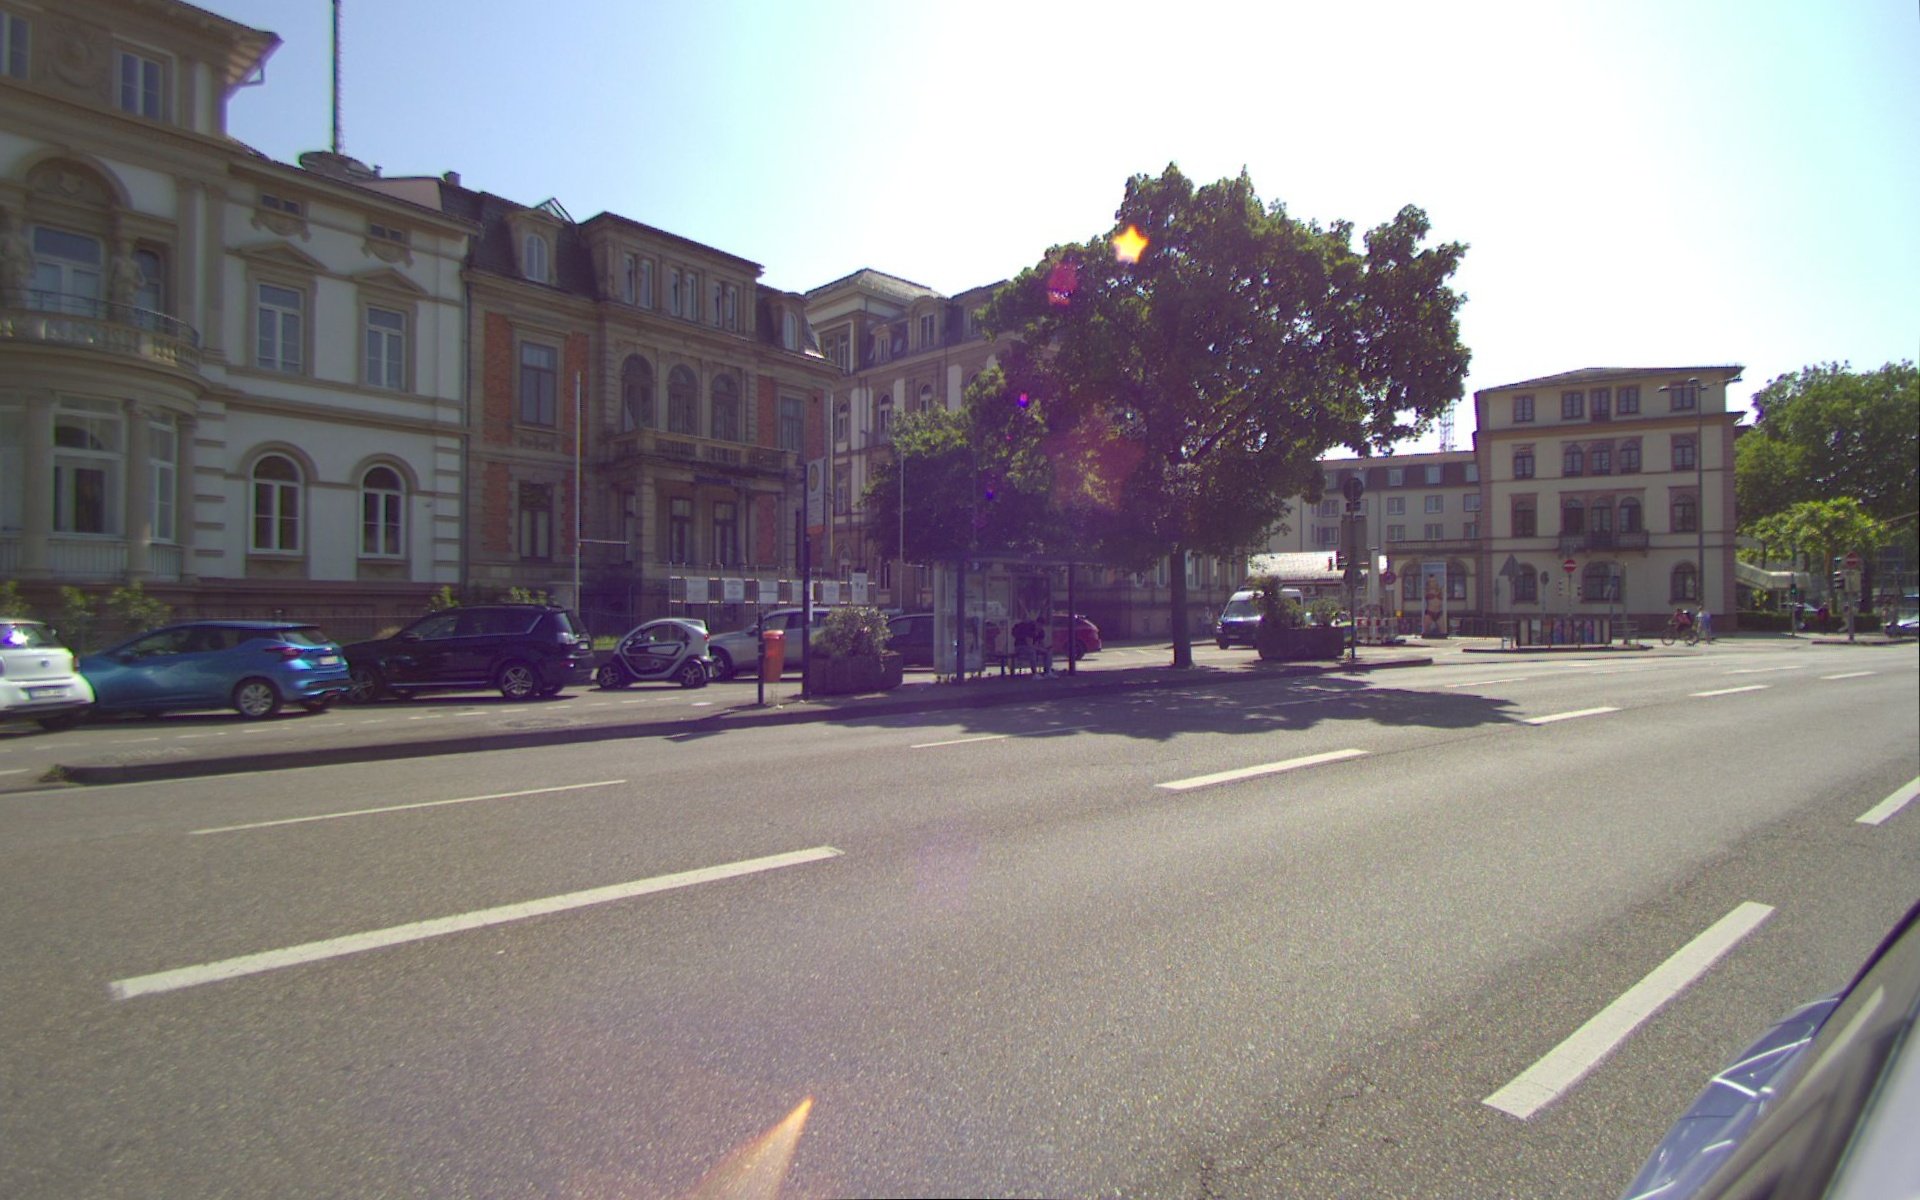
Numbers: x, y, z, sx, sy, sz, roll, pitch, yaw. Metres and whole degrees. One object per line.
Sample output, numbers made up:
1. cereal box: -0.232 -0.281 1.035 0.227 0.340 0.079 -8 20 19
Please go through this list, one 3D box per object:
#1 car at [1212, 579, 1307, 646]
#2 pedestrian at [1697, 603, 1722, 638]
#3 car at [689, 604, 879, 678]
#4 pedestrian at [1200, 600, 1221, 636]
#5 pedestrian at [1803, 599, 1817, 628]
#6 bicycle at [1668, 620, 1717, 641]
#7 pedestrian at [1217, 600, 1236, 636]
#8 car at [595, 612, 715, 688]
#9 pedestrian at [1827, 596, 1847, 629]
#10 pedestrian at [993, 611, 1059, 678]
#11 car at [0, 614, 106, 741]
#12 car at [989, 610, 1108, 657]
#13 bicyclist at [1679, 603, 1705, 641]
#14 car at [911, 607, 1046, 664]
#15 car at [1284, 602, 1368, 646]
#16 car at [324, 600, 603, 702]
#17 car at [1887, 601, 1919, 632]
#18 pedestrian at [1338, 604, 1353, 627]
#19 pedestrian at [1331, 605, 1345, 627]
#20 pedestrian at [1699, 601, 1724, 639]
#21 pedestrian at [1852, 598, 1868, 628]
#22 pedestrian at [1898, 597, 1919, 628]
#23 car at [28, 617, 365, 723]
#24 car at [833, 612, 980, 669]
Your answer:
1. car: 12.598 0.512 42.362 1.990 2.637 5.243 -1 -1 39
2. pedestrian: 34.535 0.921 46.642 0.815 1.592 0.772 1 -1 -41
3. car: -4.068 0.942 23.866 4.232 1.650 1.714 0 -1 -2
4. pedestrian: 12.591 0.906 50.907 0.816 1.762 0.741 -1 -1 37
5. pedestrian: 49.238 0.785 58.631 0.531 1.670 0.666 -1 -1 32
6. bicycle: 31.428 1.320 43.440 1.710 0.866 0.594 0 -1 -4
7. pedestrian: 13.269 0.883 50.363 0.697 1.774 0.712 -1 -1 36
8. car: -6.326 1.018 21.138 2.242 1.501 1.203 0 -1 -8
9. pedestrian: 49.173 0.718 56.748 0.721 1.828 0.644 -1 -1 35
10. pedestrian: 1.253 0.818 19.132 1.012 1.213 0.784 -1 -1 28
11. car: -13.527 0.961 12.946 3.738 1.531 1.714 0 -1 -1
12. car: 2.725 1.041 31.863 3.632 1.436 1.748 0 -1 2
13. bicyclist: 31.417 0.933 43.439 0.670 1.627 0.594 0 -1 -4
14. car: 0.542 1.009 29.619 3.806 1.595 1.749 0 -1 2
15. car: 14.785 0.927 40.688 1.812 1.647 4.813 -1 -1 38
16. car: -8.800 0.874 18.242 4.189 1.718 1.715 0 -1 -4
17. car: 48.004 0.803 49.271 3.904 1.470 1.789 1 1 6
18. pedestrian: 27.713 1.134 72.713 0.707 1.624 0.723 1 -1 -42
19. pedestrian: 27.033 1.140 72.392 0.707 1.624 0.722 1 -1 -43
20. pedestrian: 33.810 0.879 45.510 0.815 1.681 0.752 1 -1 -42
21. pedestrian: 49.763 0.725 55.979 0.531 1.670 0.573 -1 -1 32
22. pedestrian: 52.138 0.676 55.464 0.836 1.717 0.738 -1 -1 27
23. car: -11.378 1.002 15.295 3.735 1.460 1.715 0 -1 -4
24. car: -1.350 1.044 26.664 3.750 1.435 1.605 0 -1 2
